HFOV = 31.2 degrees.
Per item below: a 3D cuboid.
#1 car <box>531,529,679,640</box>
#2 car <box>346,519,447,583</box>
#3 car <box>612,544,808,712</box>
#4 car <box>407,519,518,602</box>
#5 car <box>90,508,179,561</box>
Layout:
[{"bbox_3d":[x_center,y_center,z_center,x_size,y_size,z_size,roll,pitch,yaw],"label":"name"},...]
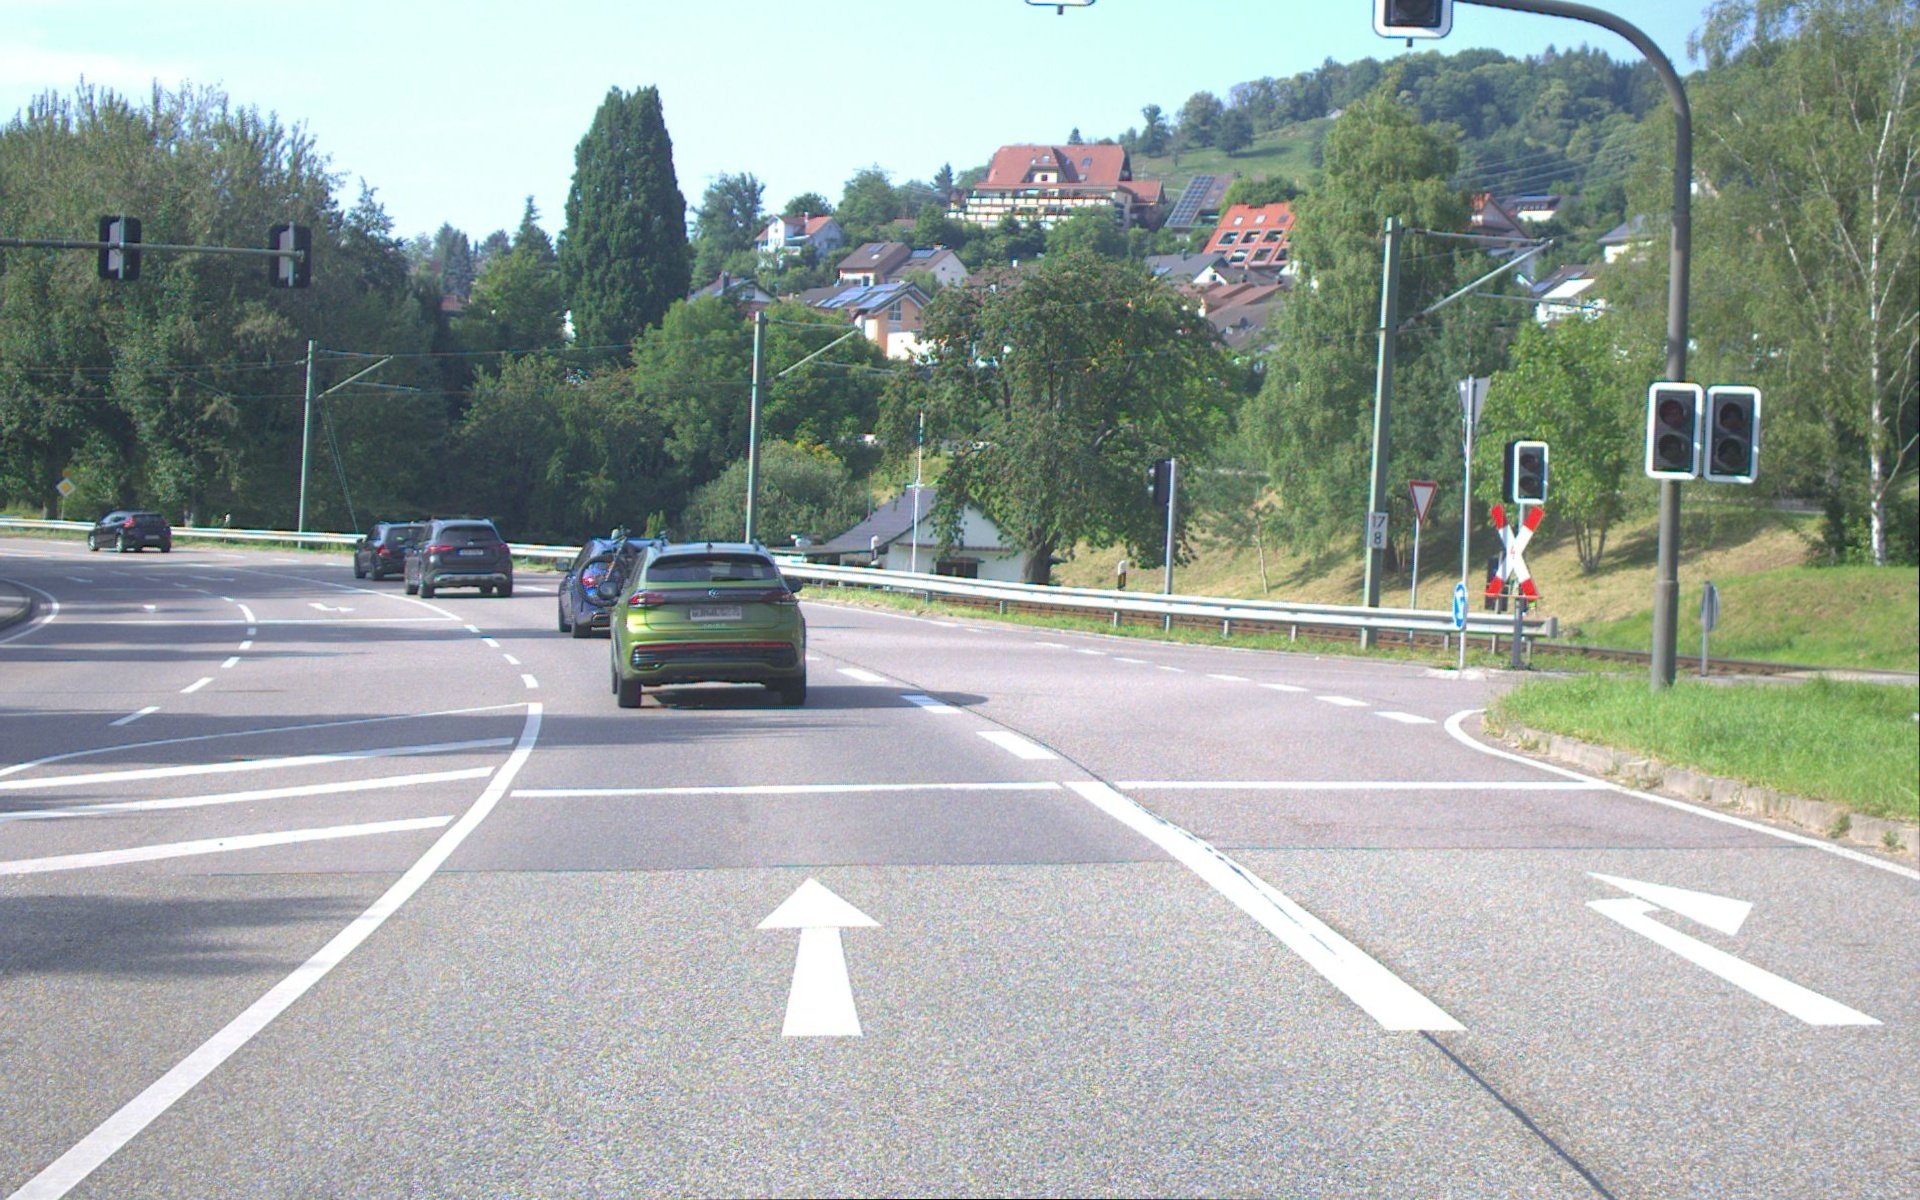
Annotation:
[{"bbox_3d":[-5.226,-0.255,50.189,1.666,1.554,4.001,0,1,-13],"label":"car"},{"bbox_3d":[-14.196,-1.255,86.469,1.848,1.521,3.663,0,2,-20],"label":"car"},{"bbox_3d":[-2.321,0.215,32.408,1.714,1.450,4.001,-1,1,-3],"label":"car"},{"bbox_3d":[-10.613,-0.864,73.190,1.879,1.681,4.001,1,1,-15],"label":"car"},{"bbox_3d":[-28.031,-2.223,116.720,1.993,1.739,4.001,0,1,-28],"label":"car"}]
